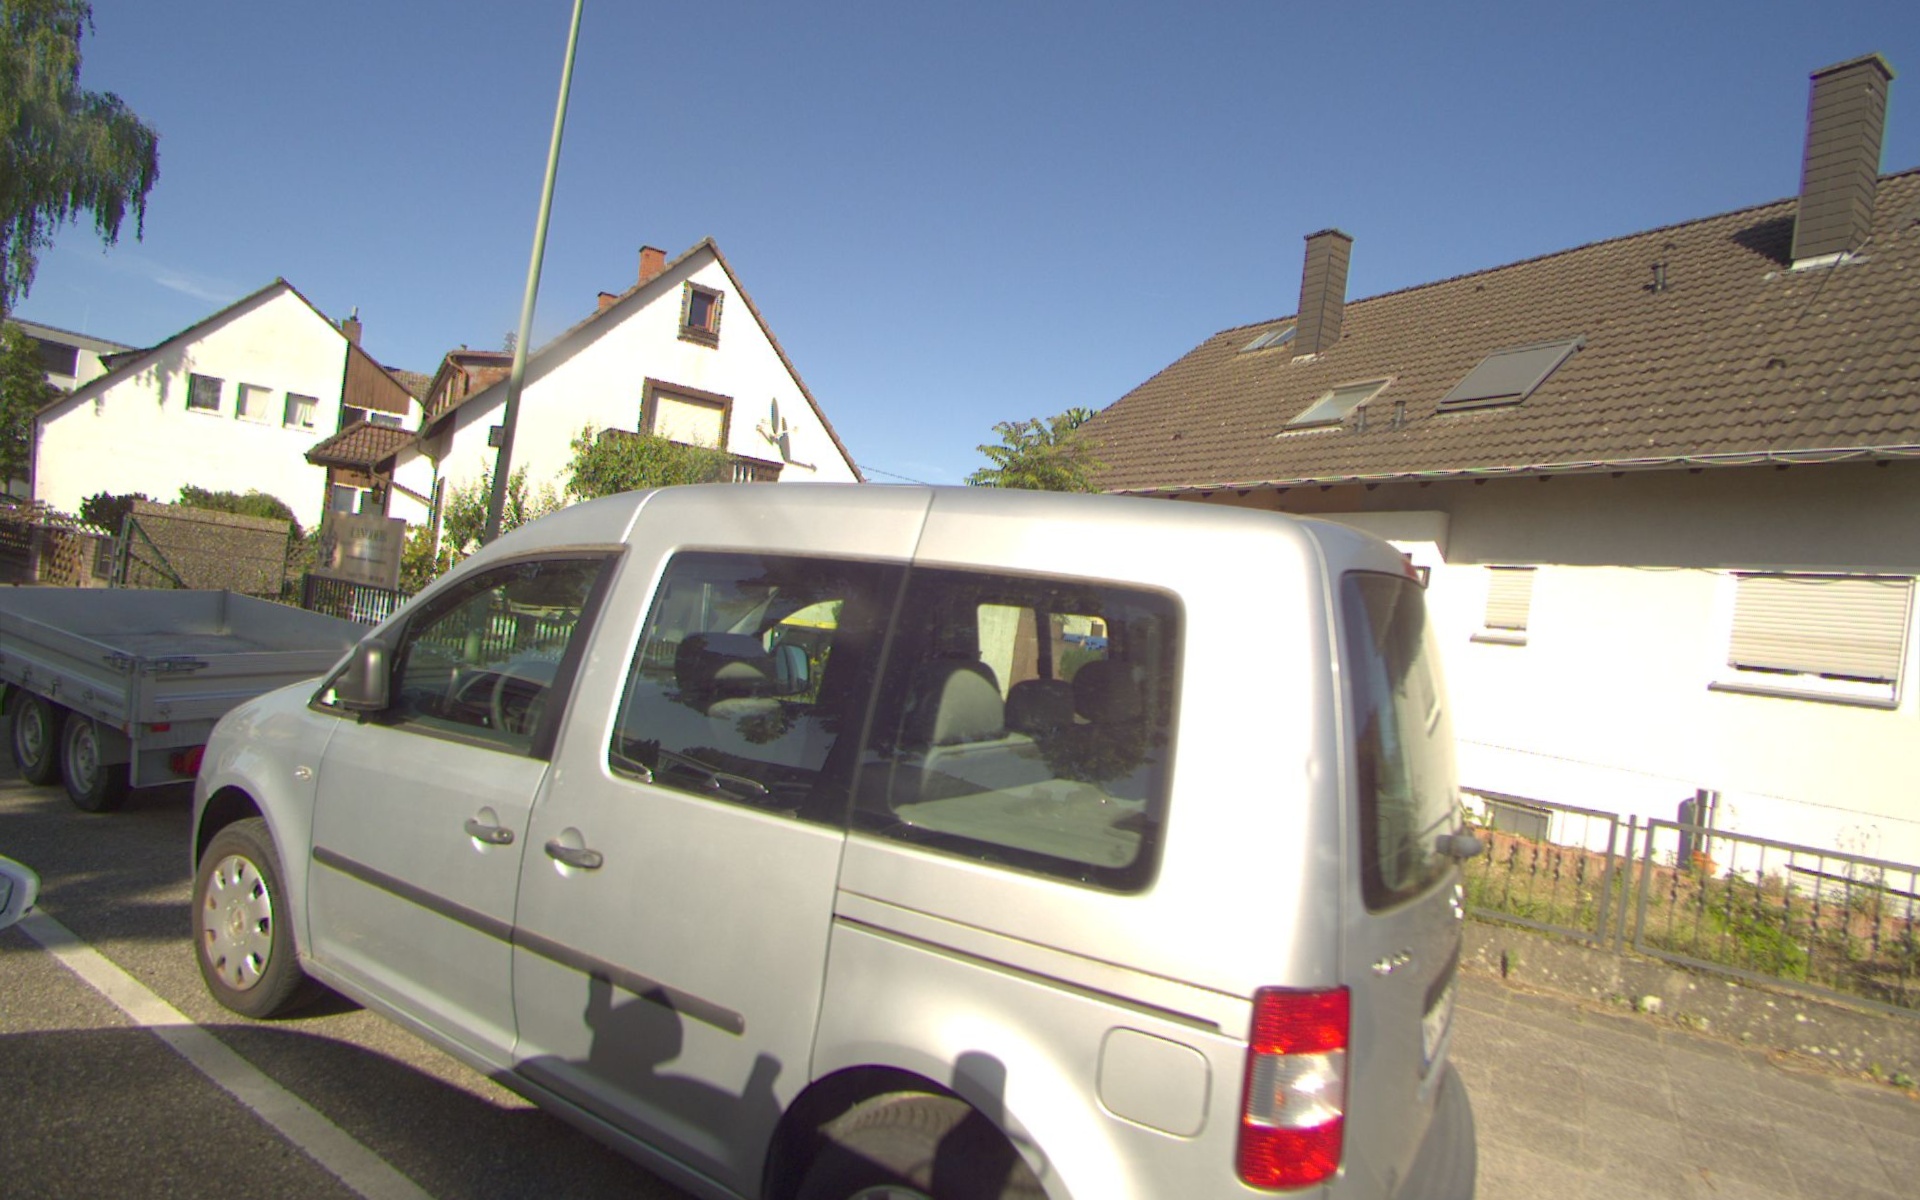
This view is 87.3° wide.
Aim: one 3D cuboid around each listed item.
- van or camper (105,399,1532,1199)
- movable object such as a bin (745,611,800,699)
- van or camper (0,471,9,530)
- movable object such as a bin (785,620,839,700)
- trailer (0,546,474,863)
[{"bbox_3d":[-0.708,0.570,3.150,4.111,1.913,1.721,7,-1,33],"label":"van or camper"},{"bbox_3d":[-2.558,0.750,13.714,0.499,1.109,0.454,7,0,-31],"label":"movable object such as a bin"},{"bbox_3d":[-43.352,-4.596,41.380,2.246,2.571,5.837,7,-1,8],"label":"van or camper"},{"bbox_3d":[-2.060,0.834,14.007,0.499,1.038,0.454,7,0,-31],"label":"movable object such as a bin"},{"bbox_3d":[-4.643,0.462,5.935,3.091,1.232,1.631,7,-1,29],"label":"trailer"}]
